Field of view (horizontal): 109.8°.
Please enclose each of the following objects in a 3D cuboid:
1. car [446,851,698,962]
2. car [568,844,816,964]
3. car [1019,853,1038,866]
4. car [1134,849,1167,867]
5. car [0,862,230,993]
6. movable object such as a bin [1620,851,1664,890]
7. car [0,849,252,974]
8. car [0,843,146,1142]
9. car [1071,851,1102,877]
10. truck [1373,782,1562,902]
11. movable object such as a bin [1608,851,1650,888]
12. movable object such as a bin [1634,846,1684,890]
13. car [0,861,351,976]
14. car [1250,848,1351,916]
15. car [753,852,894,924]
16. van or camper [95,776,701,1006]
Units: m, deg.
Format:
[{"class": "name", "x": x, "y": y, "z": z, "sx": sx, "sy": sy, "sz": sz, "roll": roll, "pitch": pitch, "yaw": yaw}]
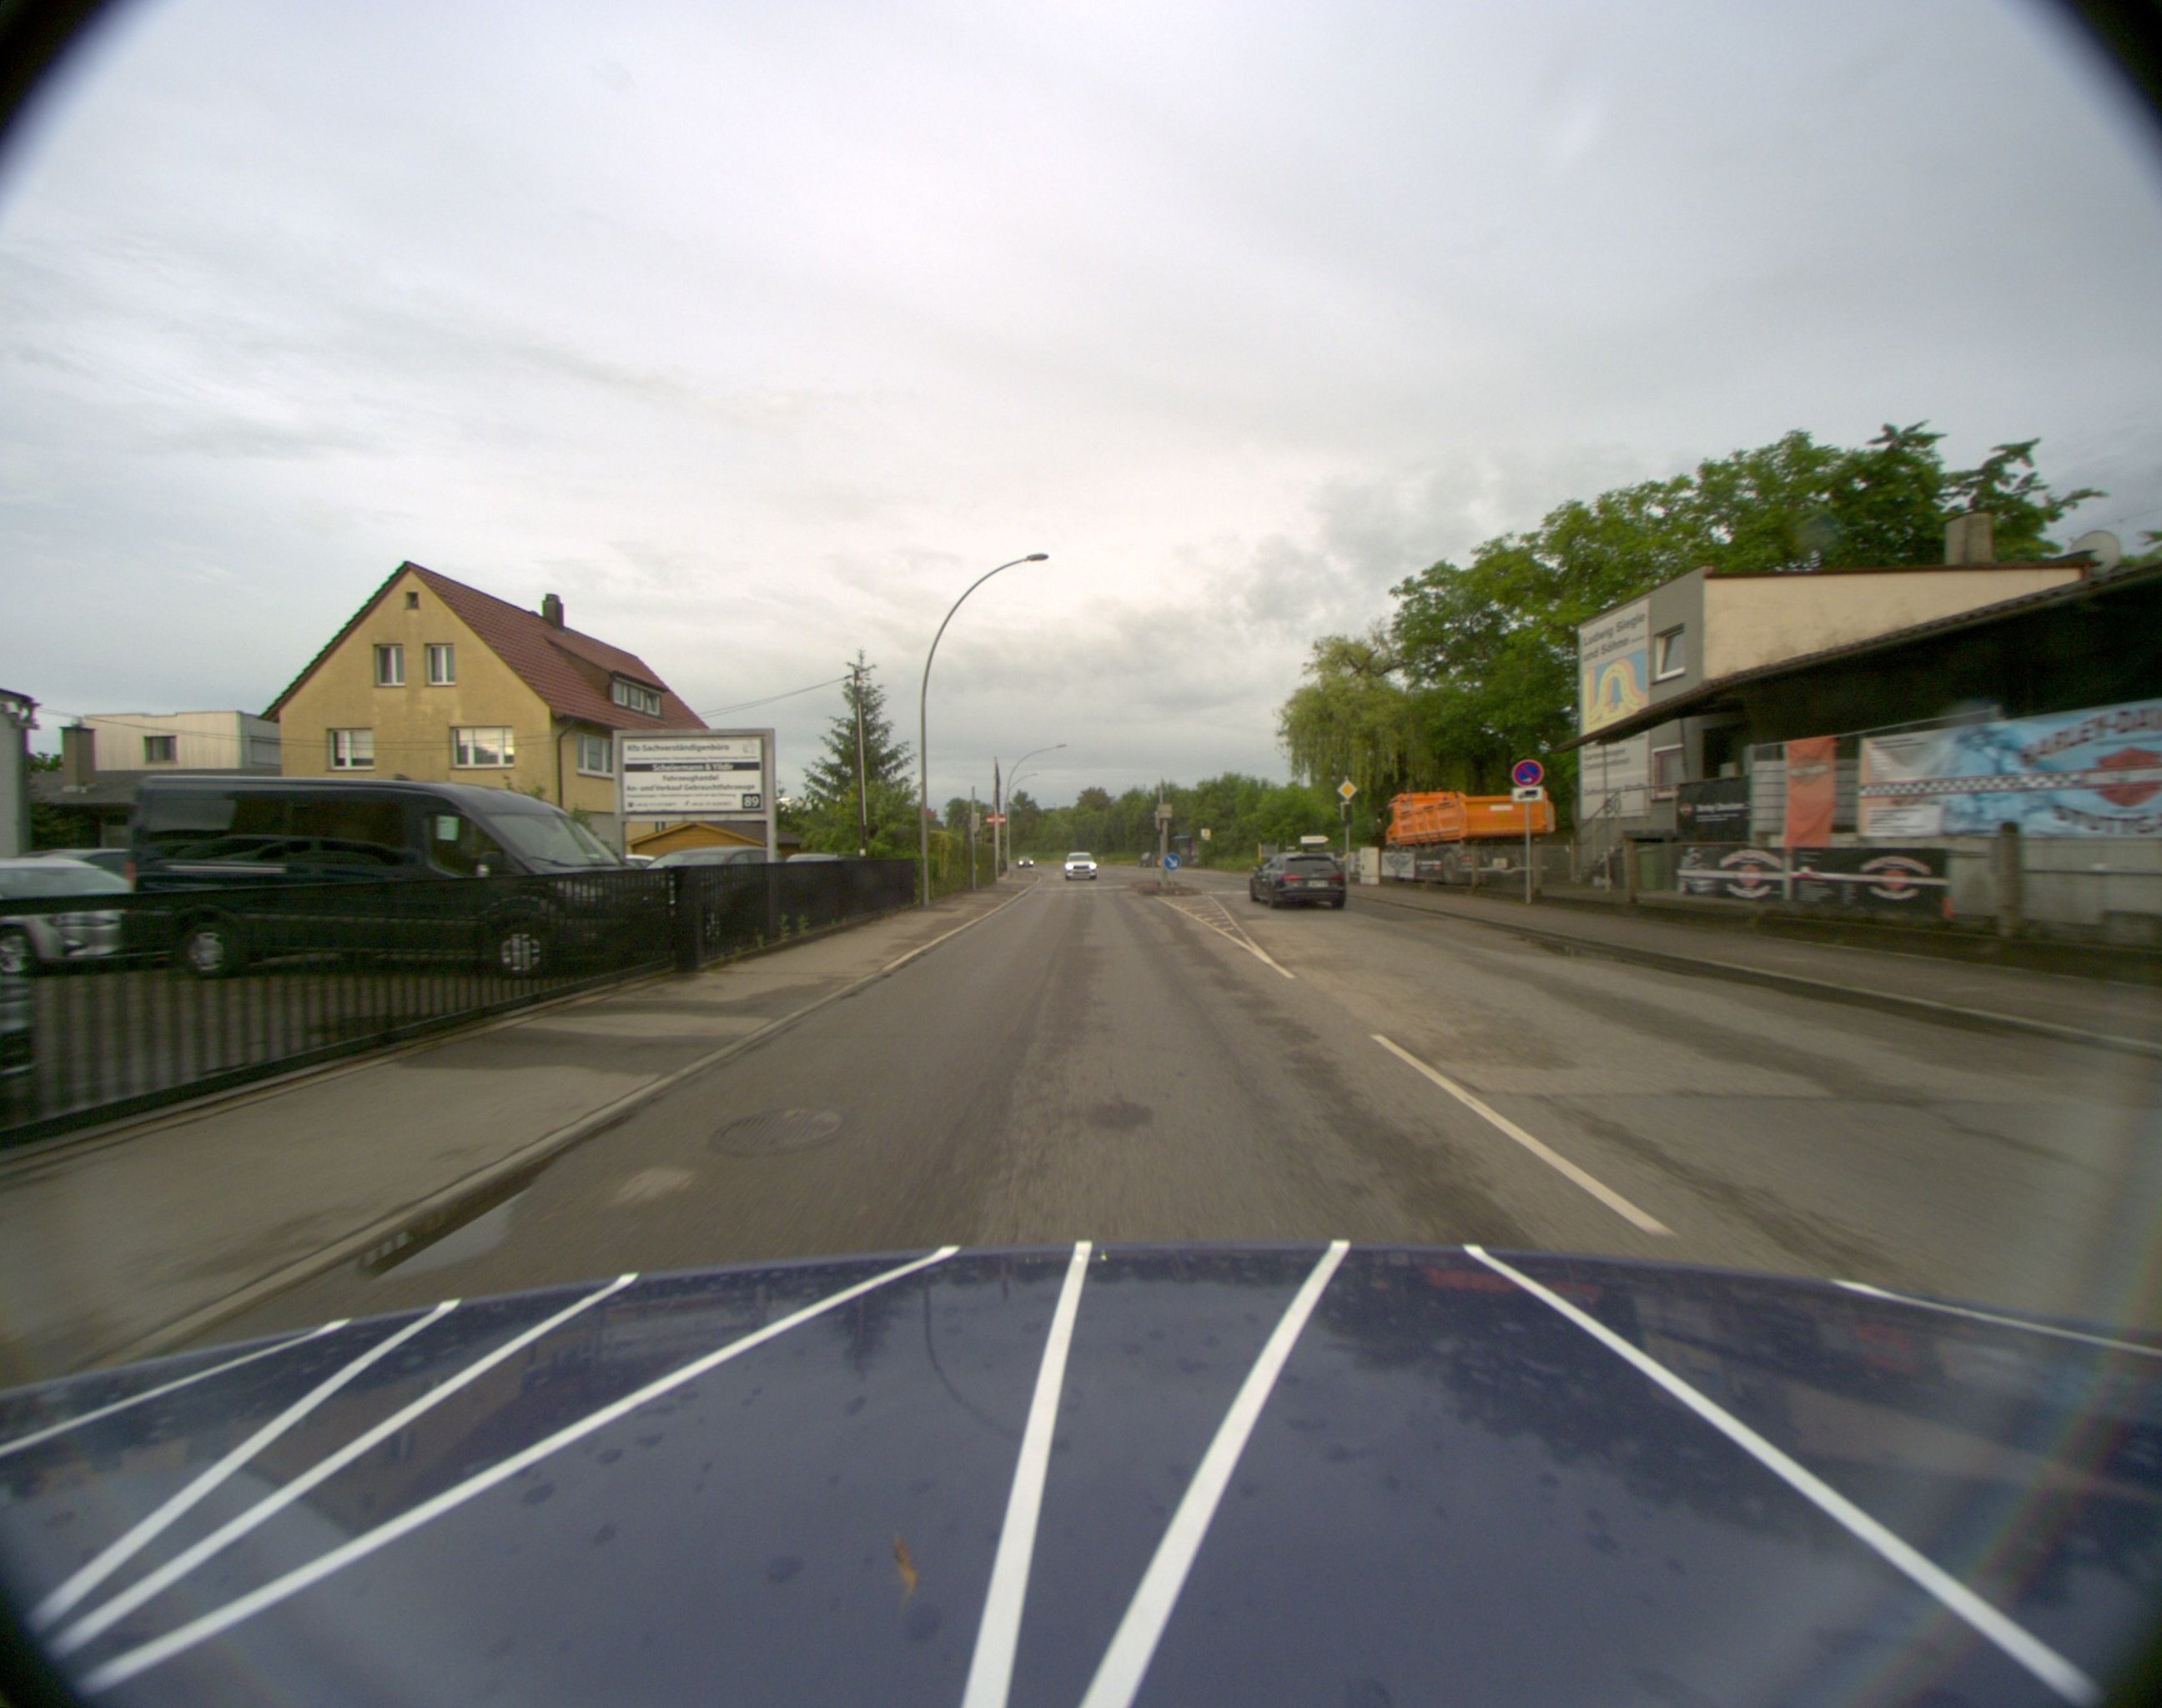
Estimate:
[{"class": "car", "x": -9.236, "y": 0.850, "z": 14.267, "sx": 1.665, "sy": 1.558, "sz": 3.999, "roll": -3, "pitch": 2, "yaw": 5}, {"class": "car", "x": -6.608, "y": 0.725, "z": 13.613, "sx": 1.665, "sy": 1.558, "sz": 4.566, "roll": -3, "pitch": 2, "yaw": 5}, {"class": "car", "x": -6.986, "y": 0.722, "z": 100.685, "sx": 1.839, "sy": 1.609, "sz": 3.995, "roll": -1, "pitch": 0, "yaw": -15}, {"class": "car", "x": 6.925, "y": 0.454, "z": 75.967, "sx": 2.000, "sy": 1.465, "sz": 4.698, "roll": -4, "pitch": -2, "yaw": -10}, {"class": "car", "x": -14.198, "y": 0.905, "z": 9.995, "sx": 4.333, "sy": 1.474, "sz": 1.709, "roll": -1, "pitch": 2, "yaw": 6}, {"class": "movable object such as a bin", "x": 14.186, "y": 0.413, "z": 19.225, "sx": 0.765, "sy": 0.950, "sz": 0.478, "roll": -1, "pitch": 1, "yaw": 1}, {"class": "car", "x": -18.963, "y": 1.024, "z": 15.002, "sx": 1.580, "sy": 2.040, "sz": 3.134, "roll": -4, "pitch": 3, "yaw": -2}, {"class": "car", "x": -7.546, "y": 0.939, "z": 2.419, "sx": 2.124, "sy": 1.641, "sz": 5.238, "roll": -3, "pitch": 3, "yaw": 13}, {"class": "car", "x": 0.294, "y": 0.598, "z": 47.574, "sx": 1.848, "sy": 1.565, "sz": 3.826, "roll": -1, "pitch": 0, "yaw": -1}, {"class": "truck", "x": 13.140, "y": -0.551, "z": 26.965, "sx": 2.703, "sy": 3.393, "sz": 9.071, "roll": -3, "pitch": 2, "yaw": 5}, {"class": "movable object such as a bin", "x": 14.219, "y": 0.398, "z": 19.728, "sx": 0.750, "sy": 0.950, "sz": 0.460, "roll": -1, "pitch": 1, "yaw": 1}, {"class": "movable object such as a bin", "x": 14.179, "y": 0.339, "z": 18.651, "sx": 0.765, "sy": 1.050, "sz": 0.624, "roll": -1, "pitch": 1, "yaw": 1}, {"class": "car", "x": -16.573, "y": 1.066, "z": 14.196, "sx": 1.665, "sy": 1.544, "sz": 3.999, "roll": -3, "pitch": 2, "yaw": 5}, {"class": "car", "x": 5.907, "y": 0.675, "z": 20.959, "sx": 1.746, "sy": 1.443, "sz": 4.542, "roll": -2, "pitch": 3, "yaw": 5}, {"class": "car", "x": -6.111, "y": 0.730, "z": 18.599, "sx": 1.665, "sy": 1.448, "sz": 4.245, "roll": -3, "pitch": 0, "yaw": 4}, {"class": "van or camper", "x": -8.514, "y": 0.412, "z": 9.914, "sx": 5.918, "sy": 2.472, "sz": 2.131, "roll": -2, "pitch": 3, "yaw": 2}]
